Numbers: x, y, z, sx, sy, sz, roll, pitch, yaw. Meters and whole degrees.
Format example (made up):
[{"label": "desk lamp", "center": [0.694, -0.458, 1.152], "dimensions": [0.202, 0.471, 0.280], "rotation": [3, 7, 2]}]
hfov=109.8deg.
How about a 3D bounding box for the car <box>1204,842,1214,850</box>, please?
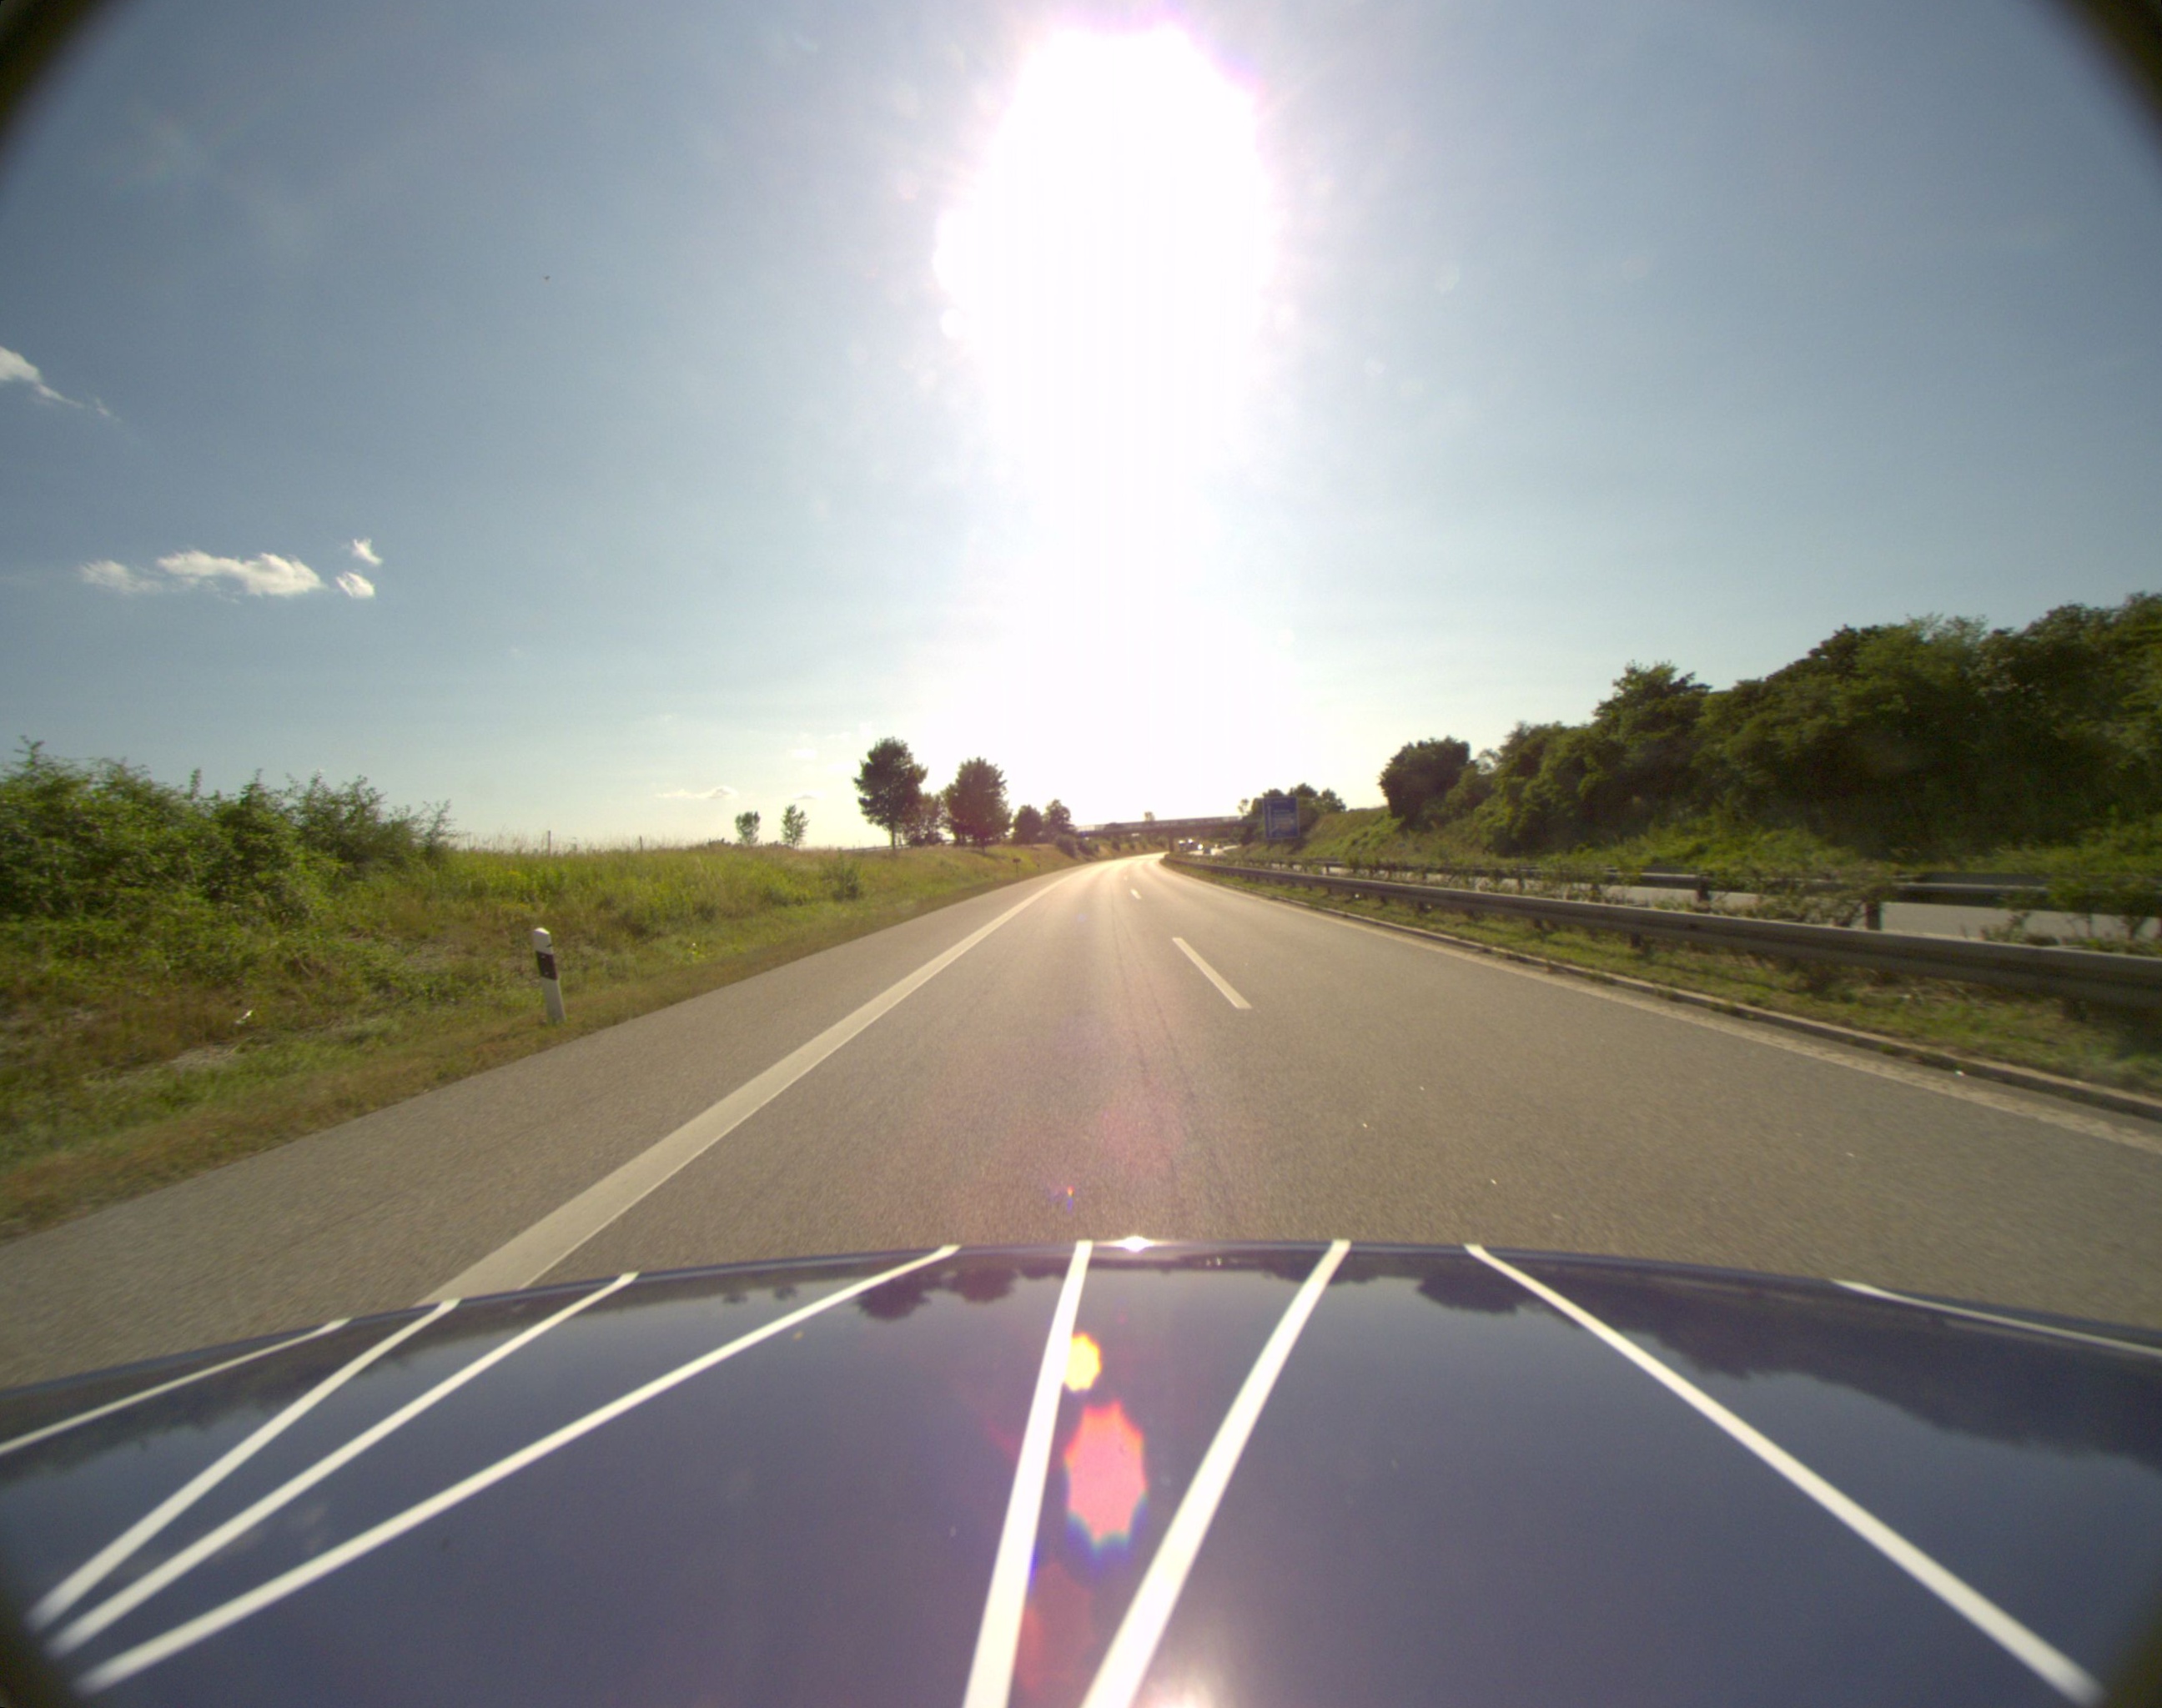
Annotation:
[{"label": "car", "center": [26.430, -1.576, 156.967], "dimensions": [1.860, 1.589, 4.001], "rotation": [-2, 1, 6]}]
